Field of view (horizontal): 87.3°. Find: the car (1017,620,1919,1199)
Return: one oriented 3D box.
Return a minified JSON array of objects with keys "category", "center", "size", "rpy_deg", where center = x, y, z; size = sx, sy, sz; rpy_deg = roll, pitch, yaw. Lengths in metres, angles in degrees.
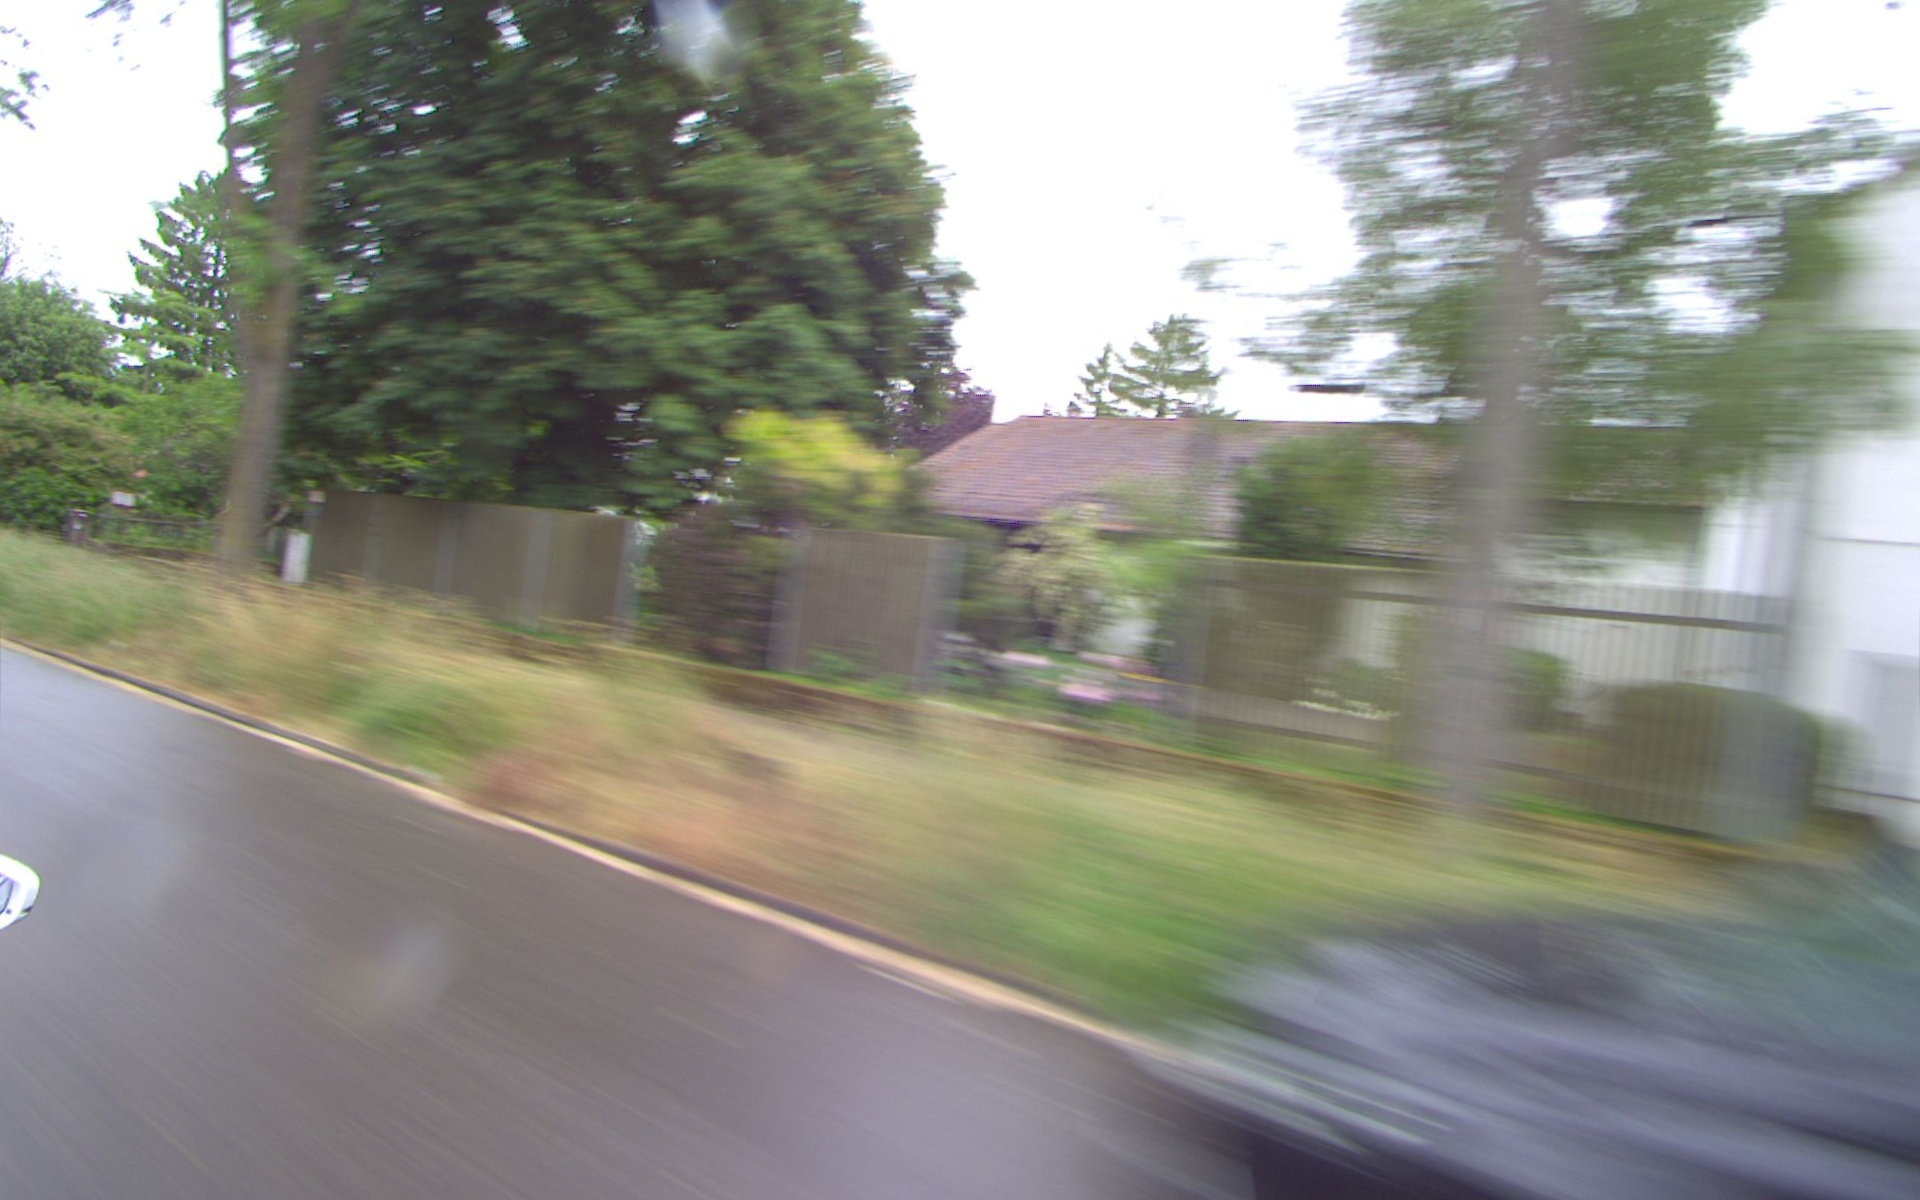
[{"category":"car","center":[2.253,1.059,1.732],"size":[3.933,1.481,1.644],"rpy_deg":[7,-2,31]}]
